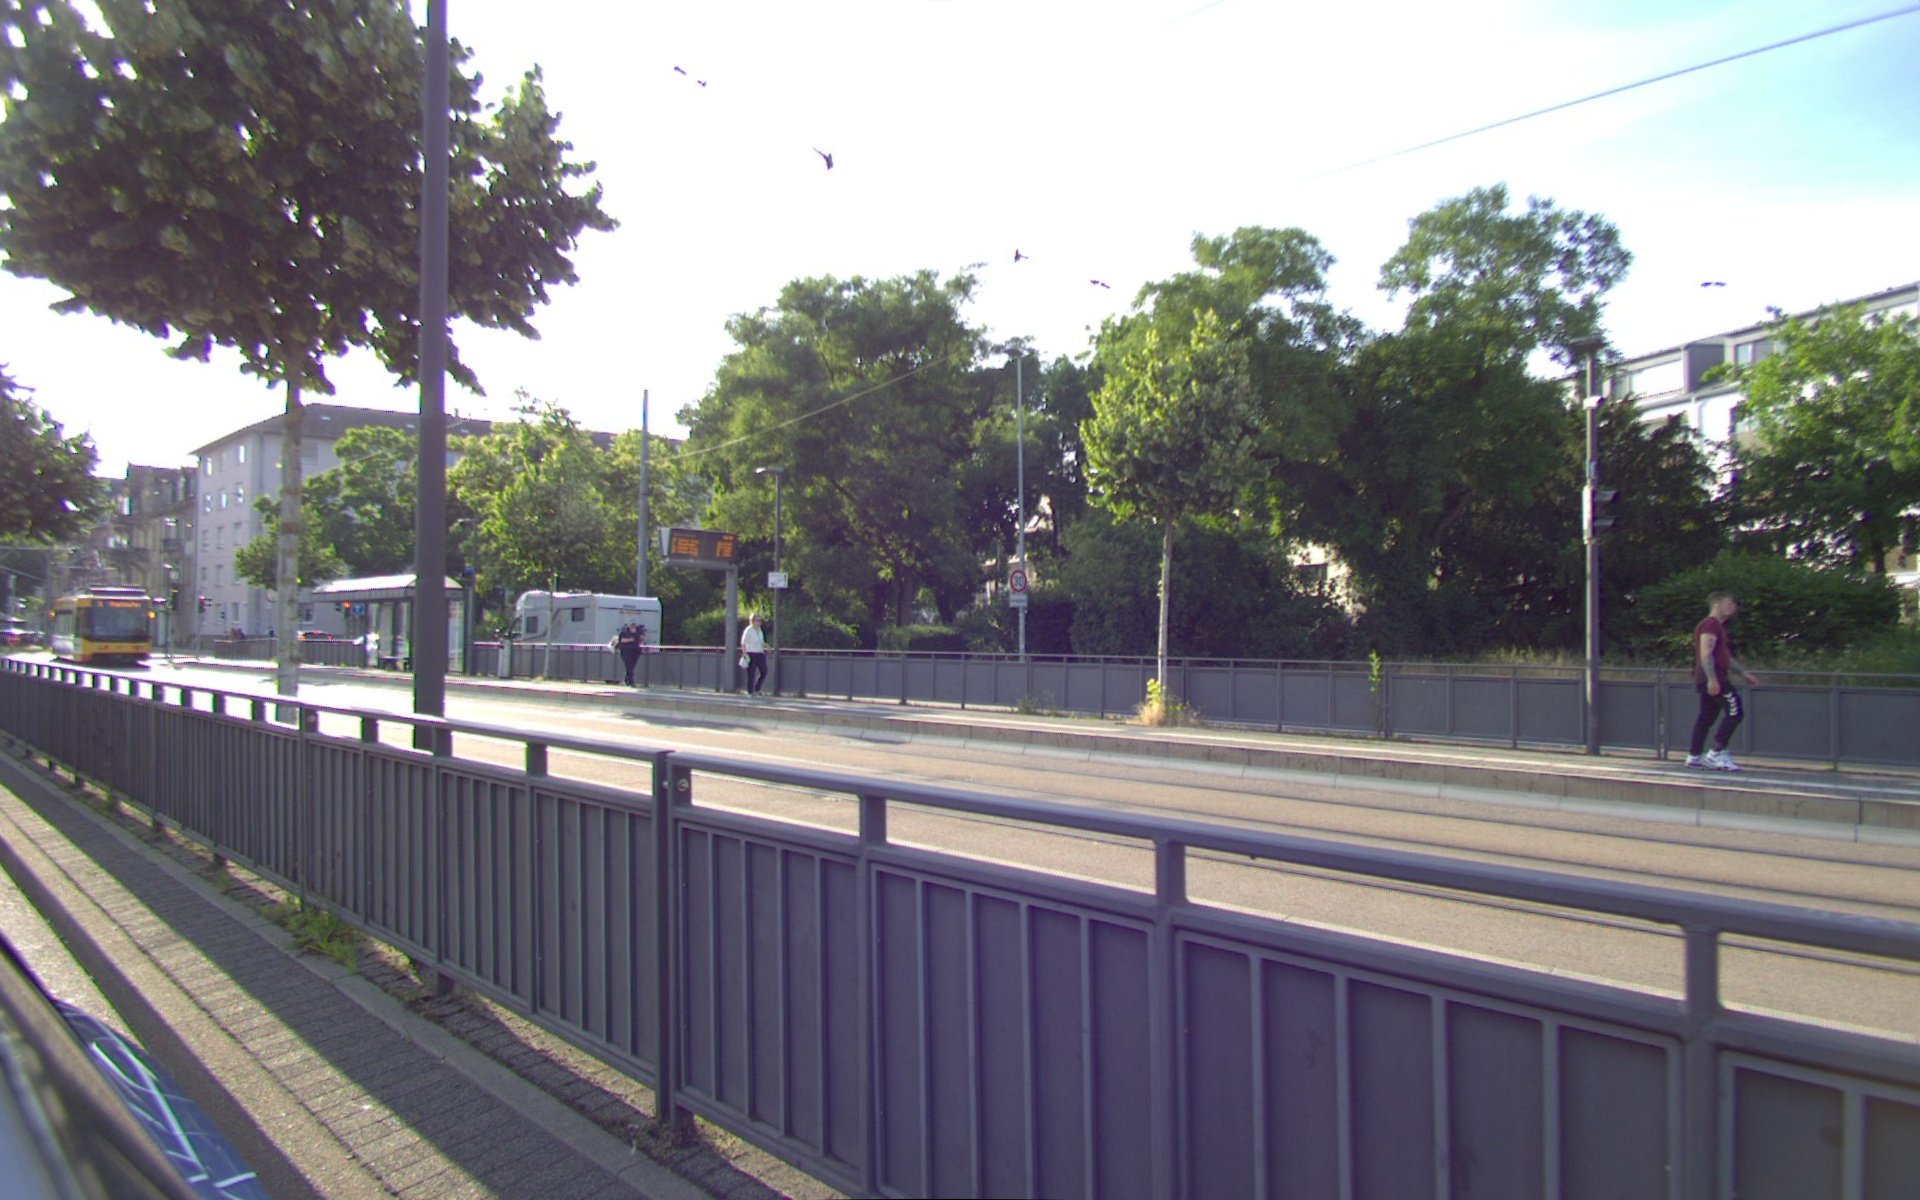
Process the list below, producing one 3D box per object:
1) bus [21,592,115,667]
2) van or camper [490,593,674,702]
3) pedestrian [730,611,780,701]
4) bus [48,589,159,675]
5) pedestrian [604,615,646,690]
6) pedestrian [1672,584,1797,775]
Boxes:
[{"bbox_3d":[-44.888,1.397,50.813,9.257,3.461,2.405,-1,0,41],"label":"bus"},{"bbox_3d":[-11.556,1.320,30.670,6.408,2.990,2.494,-1,0,41],"label":"van or camper"},{"bbox_3d":[-3.962,1.084,19.537,0.618,1.697,0.613,-2,-6,41],"label":"pedestrian"},{"bbox_3d":[-37.939,1.306,44.676,9.257,3.461,2.405,-1,0,41],"label":"bus"},{"bbox_3d":[-7.777,1.220,23.504,0.618,1.697,0.613,-2,-6,41],"label":"pedestrian"},{"bbox_3d":[7.282,0.739,9.529,0.877,1.697,0.547,-2,-6,41],"label":"pedestrian"}]
